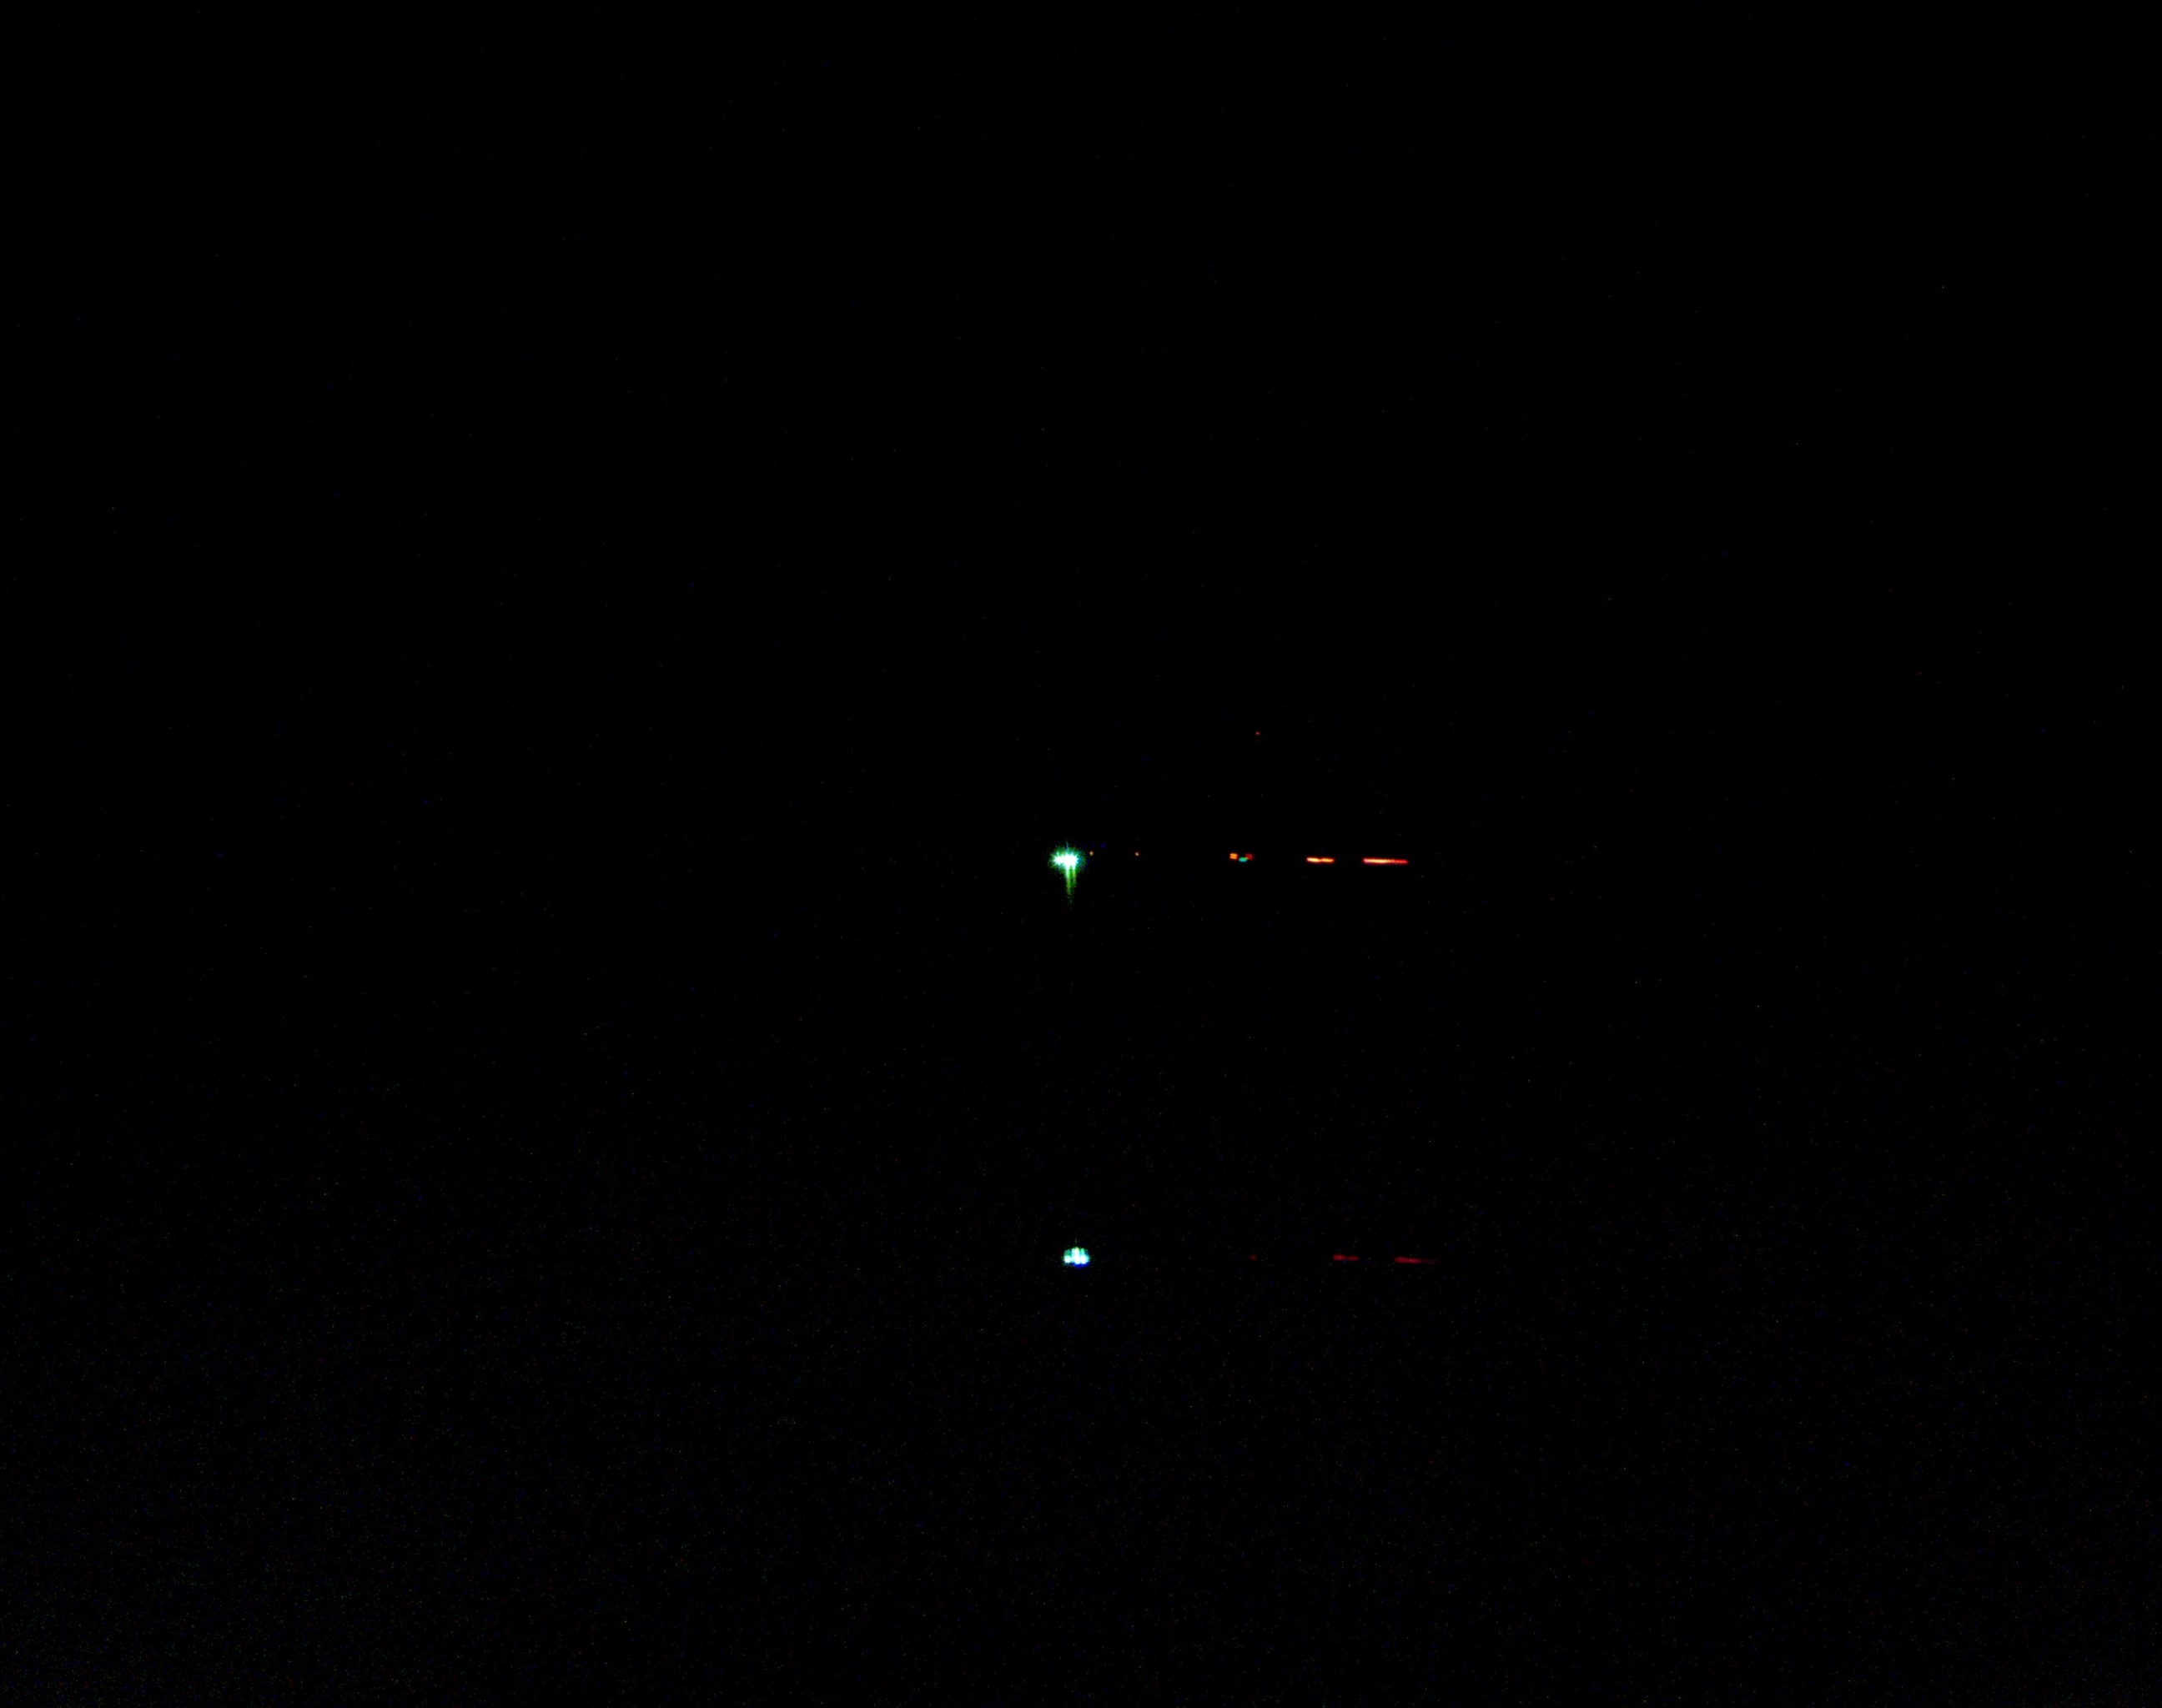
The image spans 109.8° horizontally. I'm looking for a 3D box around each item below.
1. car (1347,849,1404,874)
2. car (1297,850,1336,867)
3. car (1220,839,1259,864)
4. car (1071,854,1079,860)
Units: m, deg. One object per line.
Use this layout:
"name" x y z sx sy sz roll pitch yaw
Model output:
"car" 19.104 0.466 49.580 1.866 1.489 4.705 -2 0 0
"car" 23.021 0.425 74.498 2.056 1.589 5.076 -2 0 -2
"car" 19.283 -0.262 92.923 2.961 2.840 7.716 -2 0 -1
"car" -1.576 0.772 191.528 1.846 1.474 4.293 -3 -1 -2
